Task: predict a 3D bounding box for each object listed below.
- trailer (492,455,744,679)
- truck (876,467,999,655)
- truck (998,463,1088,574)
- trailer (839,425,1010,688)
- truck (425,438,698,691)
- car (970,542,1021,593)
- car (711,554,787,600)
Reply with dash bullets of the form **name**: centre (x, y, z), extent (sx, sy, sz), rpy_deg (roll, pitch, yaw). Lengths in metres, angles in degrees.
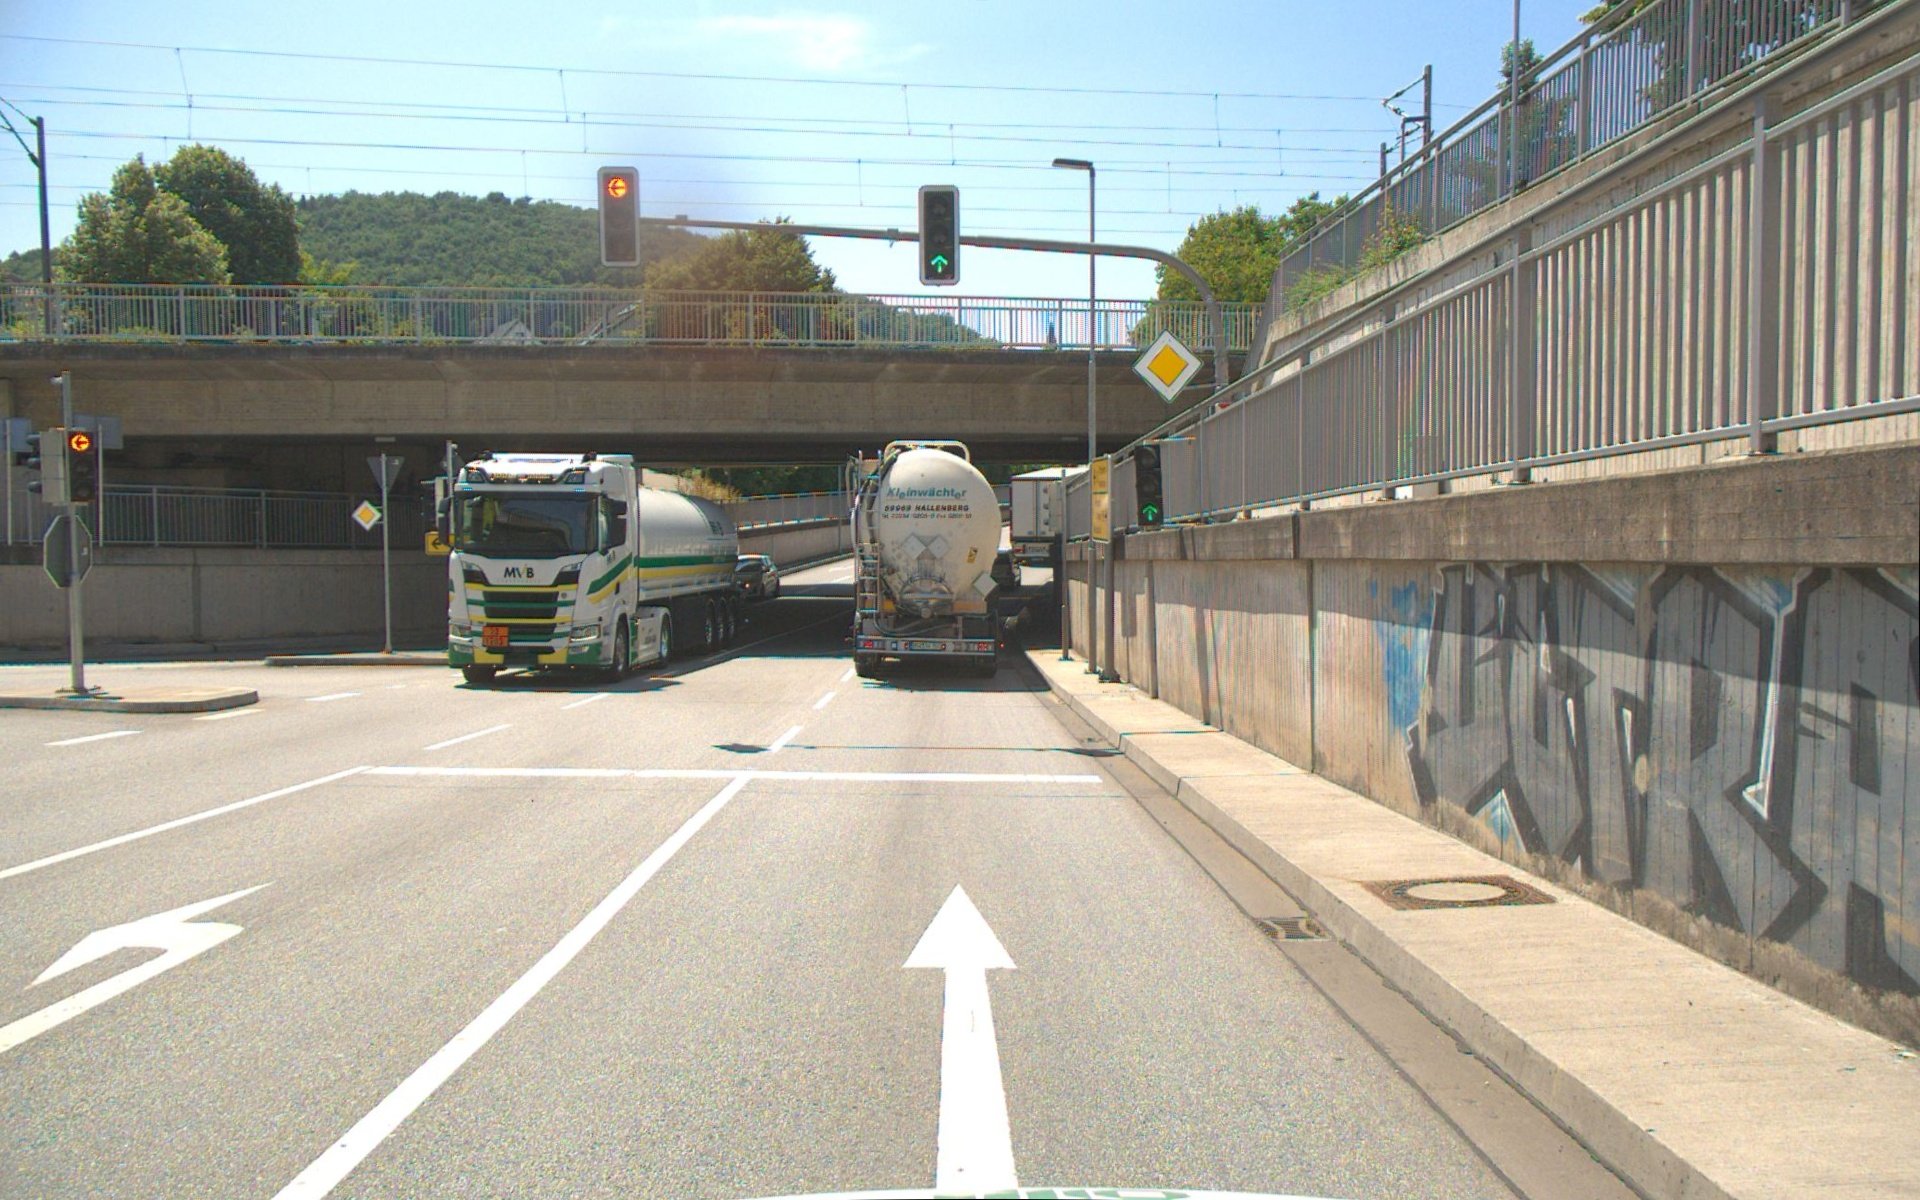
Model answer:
- **trailer**: centre (-6.427, -0.586, 32.922), extent (2.634, 3.727, 9.891), rpy_deg (1, 0, 2)
- **truck**: centre (-0.475, -0.916, 39.836), extent (2.679, 4.135, 6.530), rpy_deg (0, 1, 0)
- **truck**: centre (4.191, -4.002, 81.207), extent (3.015, 5.085, 10.094), rpy_deg (2, 3, 10)
- **trailer**: centre (-0.521, -0.793, 32.788), extent (2.679, 4.135, 13.314), rpy_deg (0, 1, 0)
- **truck**: centre (-6.561, -0.556, 28.478), extent (2.634, 3.727, 7.371), rpy_deg (1, 0, 2)
- **car**: centre (1.418, -1.308, 64.750), extent (1.843, 1.667, 4.005), rpy_deg (1, 6, 3)
- **car**: centre (-7.432, -0.837, 58.569), extent (1.742, 1.491, 3.837), rpy_deg (0, 3, 8)
